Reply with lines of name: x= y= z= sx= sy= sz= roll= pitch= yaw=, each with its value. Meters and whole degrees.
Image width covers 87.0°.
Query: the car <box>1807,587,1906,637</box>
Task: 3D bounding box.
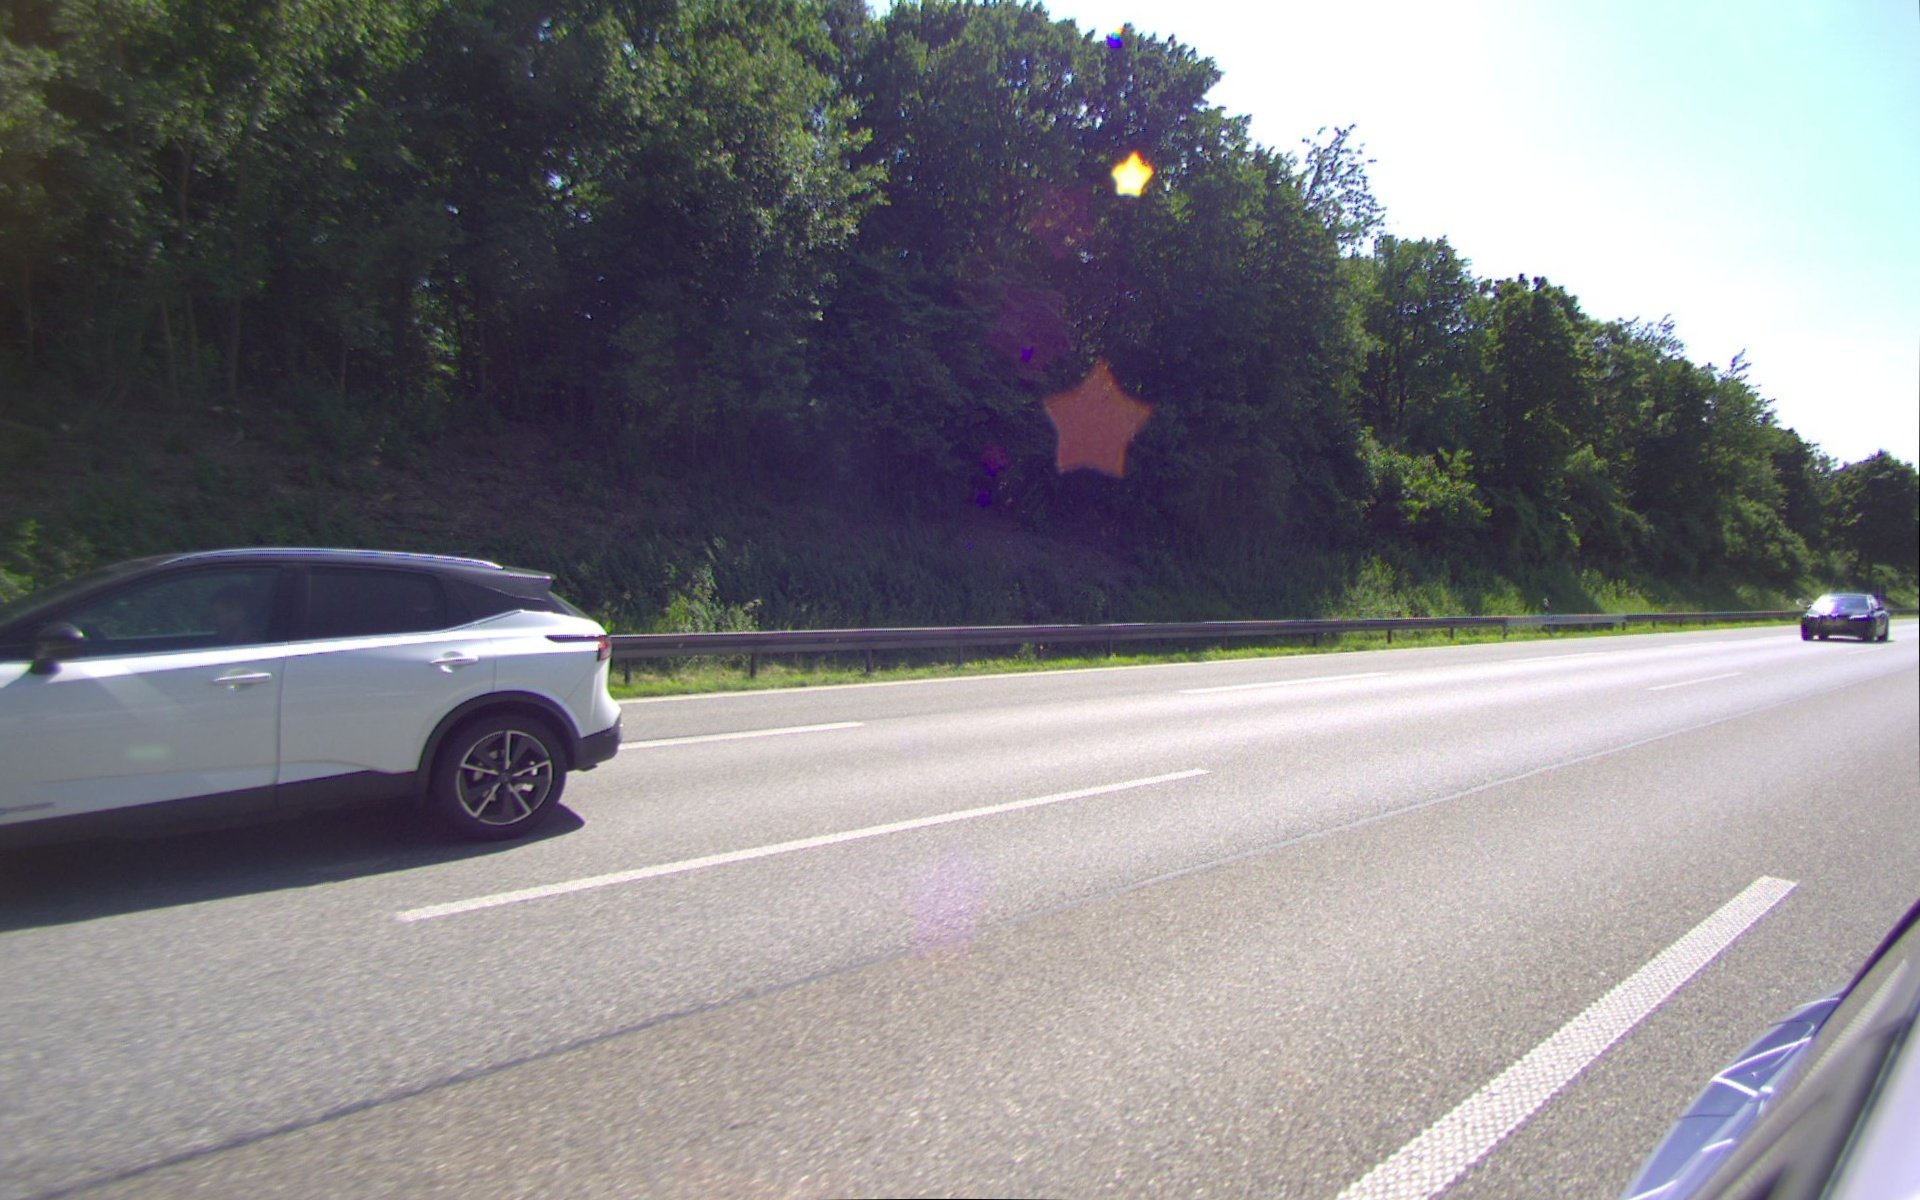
car: x=32.111 y=0.398 z=36.221 sx=4.601 sy=1.690 sz=1.924 roll=0 pitch=0 yaw=-39

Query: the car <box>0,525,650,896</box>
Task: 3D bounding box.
car: x=-4.002 y=0.467 z=5.637 sx=3.964 sy=1.588 sz=1.847 roll=0 pitch=0 yaw=-40
